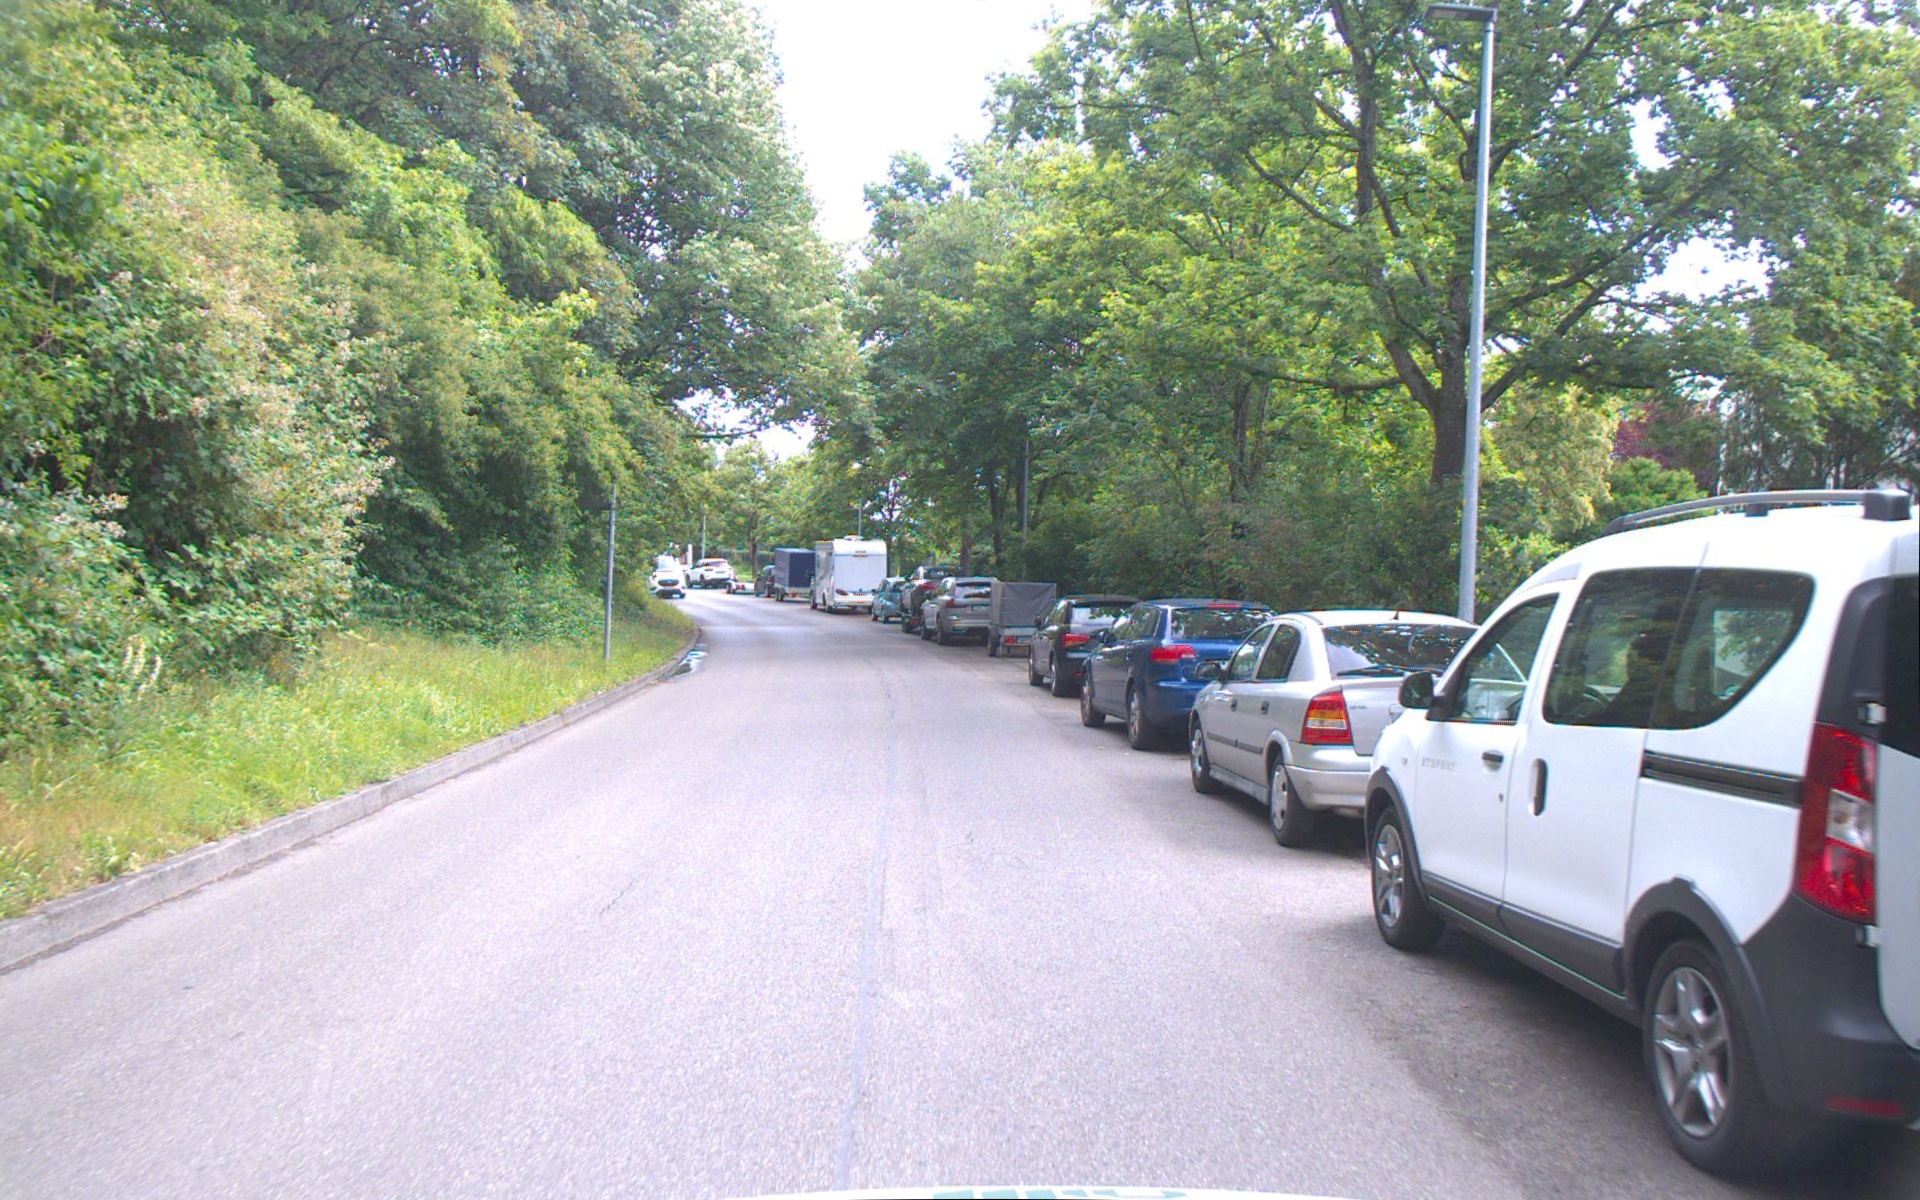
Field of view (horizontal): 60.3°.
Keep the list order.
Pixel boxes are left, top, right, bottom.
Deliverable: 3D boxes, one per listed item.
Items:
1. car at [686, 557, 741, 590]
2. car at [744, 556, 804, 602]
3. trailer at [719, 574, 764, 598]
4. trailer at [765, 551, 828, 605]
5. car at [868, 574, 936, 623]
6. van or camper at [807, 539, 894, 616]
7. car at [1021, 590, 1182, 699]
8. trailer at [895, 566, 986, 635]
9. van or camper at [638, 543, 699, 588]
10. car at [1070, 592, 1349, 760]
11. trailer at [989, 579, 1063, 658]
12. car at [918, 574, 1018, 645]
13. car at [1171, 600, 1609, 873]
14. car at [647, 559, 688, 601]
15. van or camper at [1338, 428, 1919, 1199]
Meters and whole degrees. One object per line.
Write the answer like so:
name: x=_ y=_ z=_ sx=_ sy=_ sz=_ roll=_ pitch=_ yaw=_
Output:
car: x=-14.250 y=-1.563 z=95.582 sx=2.010 sy=1.835 sz=4.049 roll=0 pitch=2 yaw=-26
car: x=-9.381 y=-1.089 z=83.157 sx=1.966 sy=2.060 sz=3.975 roll=-2 pitch=4 yaw=-22
trailer: x=-11.485 y=-0.757 z=86.733 sx=1.627 sy=1.105 sz=3.979 roll=-1 pitch=2 yaw=-19
trailer: x=-7.734 y=-1.036 z=77.824 sx=1.965 sy=2.440 sz=3.975 roll=1 pitch=1 yaw=-21
car: x=-2.037 y=-0.086 z=57.434 sx=1.768 sy=1.589 sz=3.825 roll=0 pitch=1 yaw=-11
van or camper: x=-4.546 y=-0.915 z=67.588 sx=2.439 sy=2.926 sz=6.866 roll=1 pitch=1 yaw=-13
car: x=2.047 y=0.609 z=24.959 sx=1.687 sy=1.478 sz=3.913 roll=1 pitch=0 yaw=-6
trailer: x=-0.640 y=-0.040 z=48.178 sx=1.942 sy=1.843 sz=5.139 roll=0 pitch=1 yaw=-9
van or camper: x=-18.224 y=-2.203 z=103.276 sx=2.498 sy=2.744 sz=4.533 roll=-1 pitch=2 yaw=-28
car: x=2.466 y=0.700 z=17.552 sx=1.812 sy=1.500 sz=4.473 roll=1 pitch=0 yaw=-6
trailer: x=1.398 y=0.375 z=35.807 sx=1.254 sy=1.612 sz=2.457 roll=1 pitch=1 yaw=-6
car: x=0.149 y=0.252 z=42.048 sx=1.759 sy=1.699 sz=4.490 roll=1 pitch=-1 yaw=-10
car: x=2.751 y=0.790 z=11.633 sx=1.776 sy=1.462 sz=4.240 roll=2 pitch=0 yaw=-2
car: x=-14.562 y=-1.013 z=82.539 sx=1.911 sy=2.019 sz=4.492 roll=1 pitch=1 yaw=-9
van or camper: x=2.810 y=0.596 z=5.953 sx=1.765 sy=1.870 sz=4.318 roll=1 pitch=-1 yaw=-2
